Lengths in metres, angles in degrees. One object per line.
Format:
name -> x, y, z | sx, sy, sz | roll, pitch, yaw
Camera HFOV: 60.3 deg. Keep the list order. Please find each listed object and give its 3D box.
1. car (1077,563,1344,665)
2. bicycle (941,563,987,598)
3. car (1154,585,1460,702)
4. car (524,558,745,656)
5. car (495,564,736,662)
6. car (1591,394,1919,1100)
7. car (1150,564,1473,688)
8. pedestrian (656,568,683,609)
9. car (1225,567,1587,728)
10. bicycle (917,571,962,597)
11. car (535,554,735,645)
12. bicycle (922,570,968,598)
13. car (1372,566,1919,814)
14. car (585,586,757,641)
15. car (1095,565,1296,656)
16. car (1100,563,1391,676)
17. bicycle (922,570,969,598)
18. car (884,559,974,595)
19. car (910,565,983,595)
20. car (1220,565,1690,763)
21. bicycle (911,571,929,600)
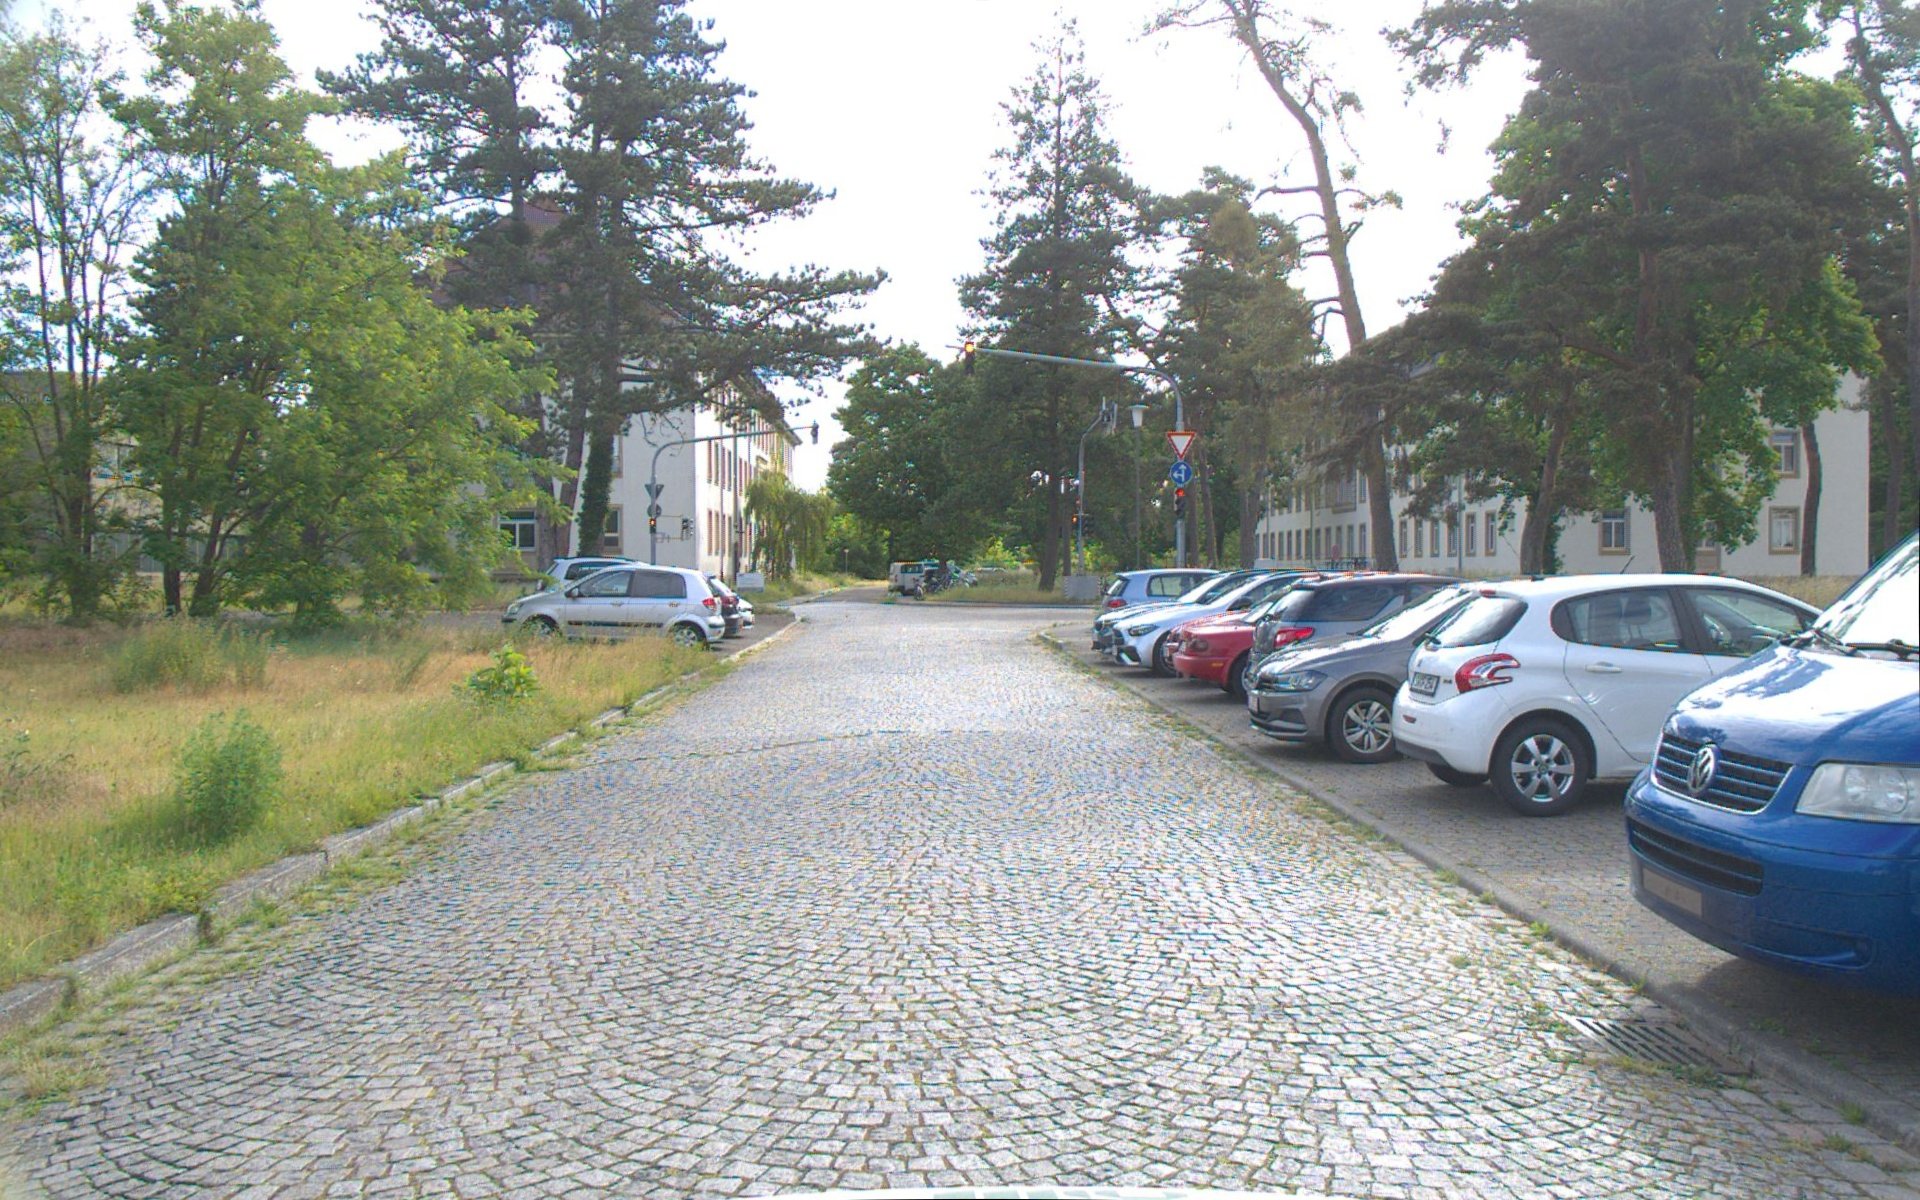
car -> 4.064, 0.194, 27.101 | 4.045, 1.570, 1.661 | 0, 1, -8
bicycle -> 0.174, -0.939, 79.809 | 2.120, 1.644, 0.811 | 0, 1, -9
car -> 4.102, 0.482, 19.807 | 3.230, 1.289, 1.661 | 0, 1, -8
car -> -6.013, 0.100, 30.961 | 3.912, 1.735, 1.997 | 0, 1, -8
car -> -5.828, 0.183, 28.473 | 3.912, 1.579, 1.997 | 0, 1, -8
car -> 4.900, 0.408, 5.865 | 4.687, 2.075, 1.737 | 0, 1, -3
car -> 4.636, 0.314, 22.074 | 3.912, 1.570, 1.661 | 0, 1, -8
pedestrian -> -10.955, -0.440, 62.407 | 0.880, 1.524, 0.904 | 0, 1, -1
car -> 4.565, 0.437, 17.108 | 3.235, 1.530, 1.659 | -1, 1, -13
bicycle -> -0.988, -0.784, 80.269 | 2.120, 1.290, 0.811 | 0, 1, -9
car -> -6.597, -0.030, 33.925 | 3.913, 1.780, 1.923 | 0, 1, -9
bicycle -> -0.715, -0.772, 79.066 | 2.120, 1.290, 0.811 | 0, 1, -9
car -> 4.642, 0.542, 11.252 | 3.227, 1.531, 1.663 | 0, 1, -4
car -> -6.274, 0.278, 36.178 | 3.602, 1.113, 1.643 | 0, 1, -8
car -> 4.202, 0.161, 29.677 | 3.325, 1.570, 1.389 | 0, 1, -8
car -> 4.152, 0.248, 24.289 | 3.912, 1.570, 1.661 | 0, 1, -8
bicycle -> -0.692, -0.767, 78.479 | 2.120, 1.290, 0.811 | 0, 1, -9
car -> -1.843, -1.319, 96.261 | 4.962, 2.049, 1.994 | 0, 1, -13
car -> -0.788, -1.143, 93.025 | 3.912, 1.673, 1.997 | 0, 1, -8
car -> 4.198, 0.481, 14.214 | 3.535, 1.533, 1.659 | -1, 1, -13
bicycle -> -1.796, -0.659, 74.676 | 0.793, 1.290, 1.973 | 0, 1, -1
